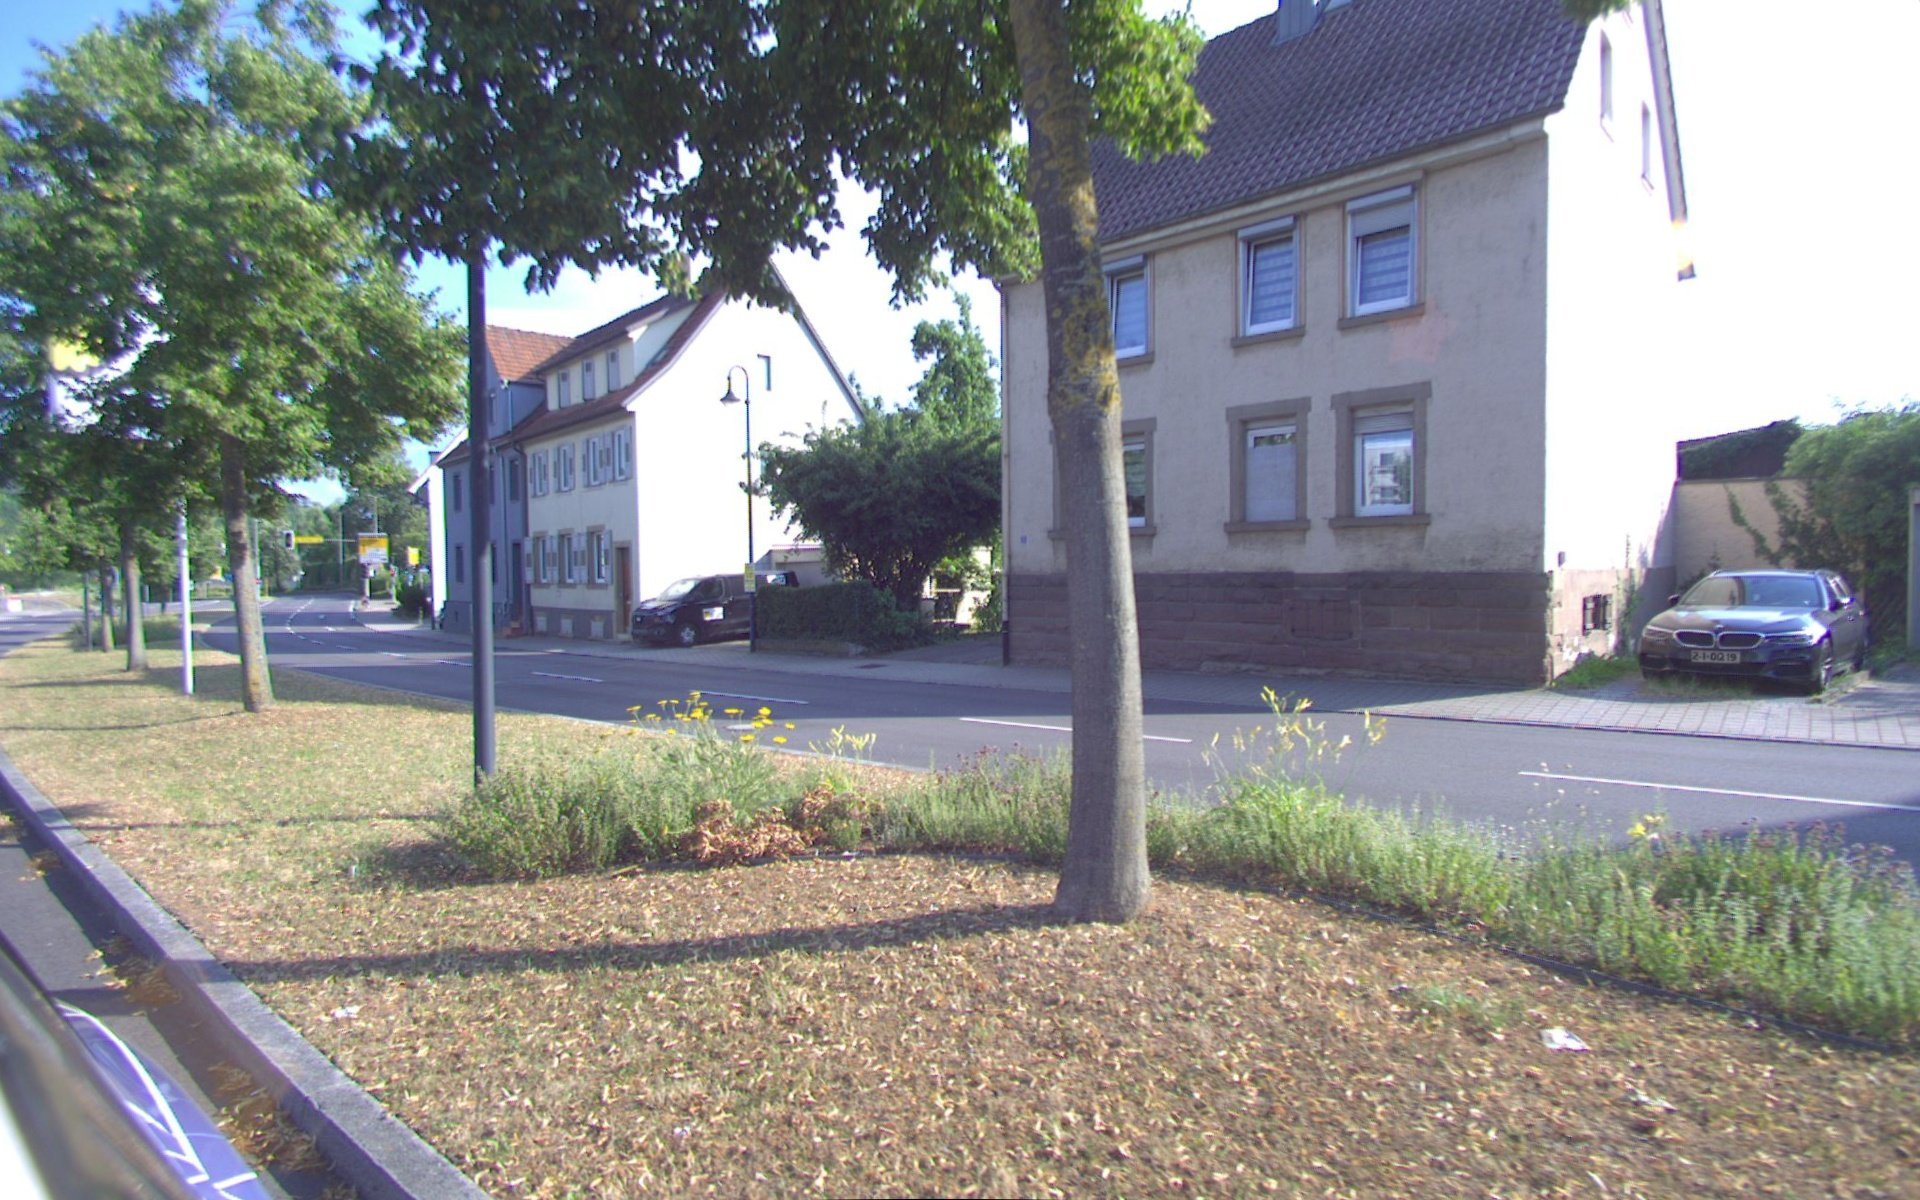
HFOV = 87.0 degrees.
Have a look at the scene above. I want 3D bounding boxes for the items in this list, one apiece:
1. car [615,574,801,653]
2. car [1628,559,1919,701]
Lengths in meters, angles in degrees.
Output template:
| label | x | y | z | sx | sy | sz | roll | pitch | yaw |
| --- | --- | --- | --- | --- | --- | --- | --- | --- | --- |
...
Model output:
| label | x | y | z | sx | sy | sz | roll | pitch | yaw |
| --- | --- | --- | --- | --- | --- | --- | --- | --- | --- |
| car | -7.177 | 0.320 | 29.133 | 4.766 | 1.891 | 2.003 | -4 | 2 | -41 |
| car | 10.666 | 0.282 | 13.130 | 4.290 | 1.497 | 2.016 | -3 | 1 | -37 |
